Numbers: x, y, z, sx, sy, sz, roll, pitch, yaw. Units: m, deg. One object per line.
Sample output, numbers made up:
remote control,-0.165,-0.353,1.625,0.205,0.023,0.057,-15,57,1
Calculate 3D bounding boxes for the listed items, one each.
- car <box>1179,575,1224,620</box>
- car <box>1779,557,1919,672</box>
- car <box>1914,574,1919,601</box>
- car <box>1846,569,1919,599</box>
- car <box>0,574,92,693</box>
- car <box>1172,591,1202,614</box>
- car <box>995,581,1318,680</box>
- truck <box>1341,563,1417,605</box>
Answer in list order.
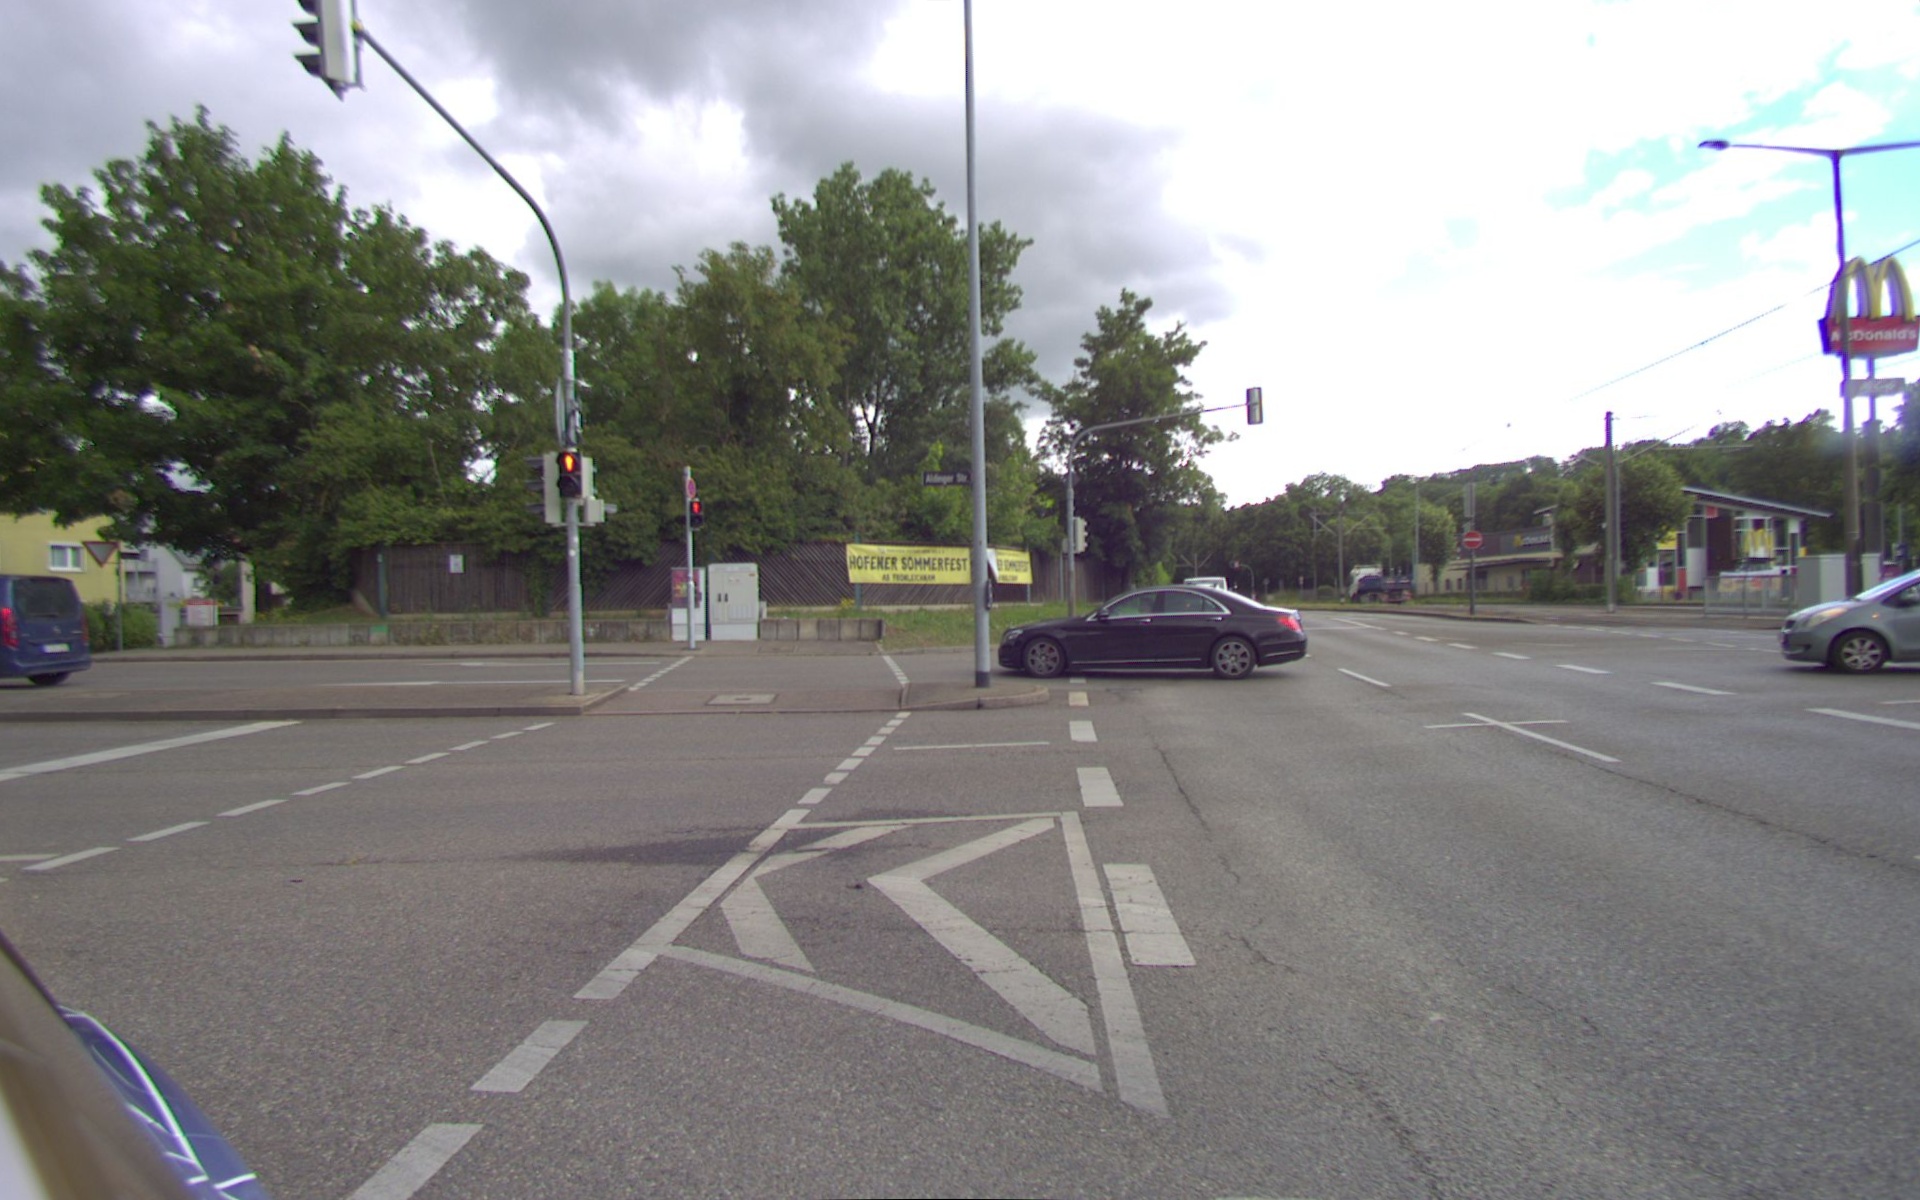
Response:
car,10.458,-0.113,43.923,1.792,1.839,3.983,-1,0,13
car,13.518,0.163,13.571,3.779,1.499,1.657,-1,0,35
car,54.331,-0.695,54.779,1.758,1.540,3.996,0,0,3
car,49.673,-0.830,53.734,1.899,1.532,3.996,0,0,3
car,-16.139,0.495,15.213,4.405,1.718,1.835,0,1,-8
car,16.193,0.171,72.170,1.980,1.547,3.983,0,0,13
car,3.194,0.495,16.751,4.946,1.461,1.823,-1,0,14
truck,37.127,-1.408,90.055,3.391,3.586,8.695,0,0,2
